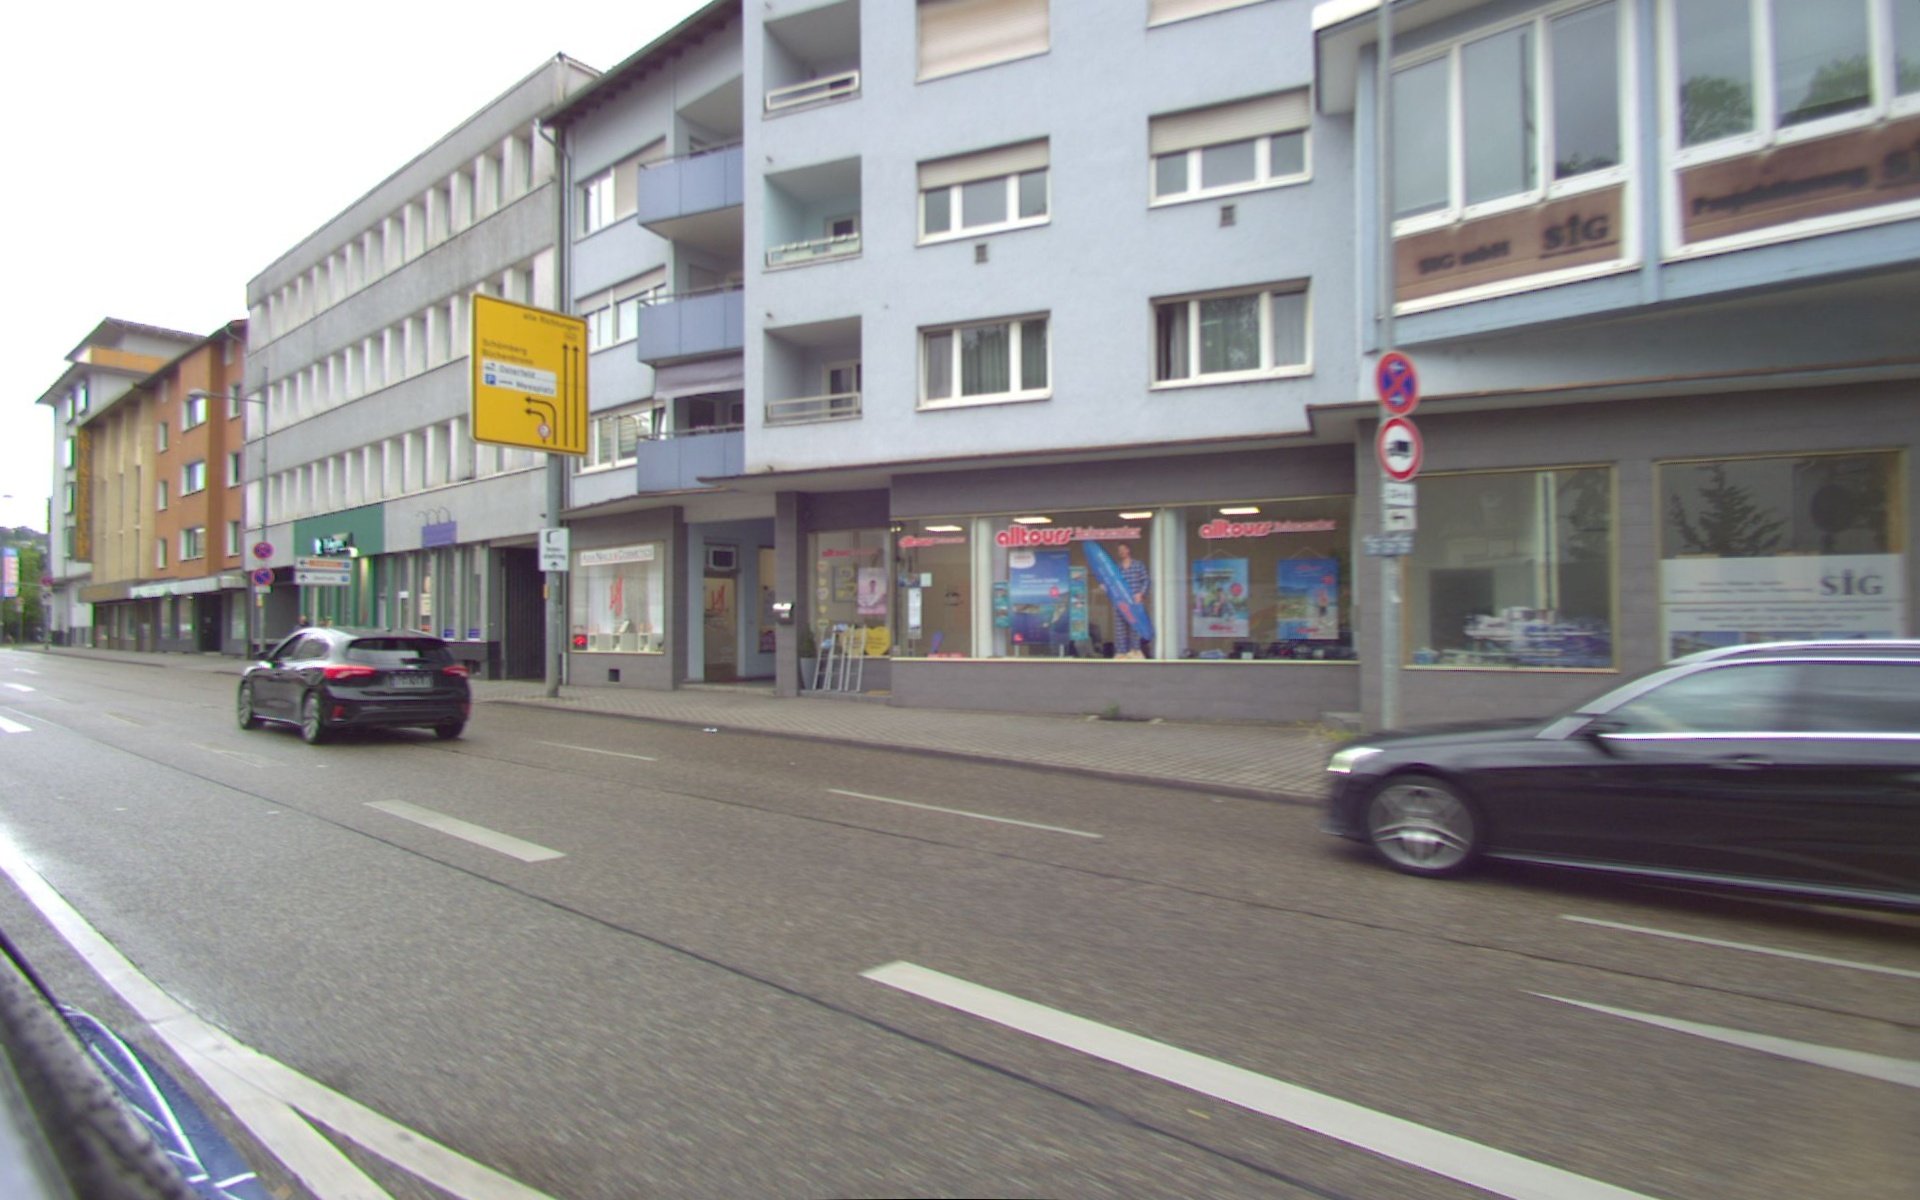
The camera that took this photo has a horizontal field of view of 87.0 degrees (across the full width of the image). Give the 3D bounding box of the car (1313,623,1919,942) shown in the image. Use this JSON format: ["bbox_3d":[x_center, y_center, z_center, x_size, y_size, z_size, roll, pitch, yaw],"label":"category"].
[{"bbox_3d":[4.681,0.912,5.689,4.826,1.479,1.690,-1,-5,41],"label":"car"}]

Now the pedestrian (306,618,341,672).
[{"bbox_3d":[-20.746,1.465,32.968,0.907,1.688,0.624,-1,2,39],"label":"pedestrian"}]

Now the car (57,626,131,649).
[{"bbox_3d":[-62.308,2.720,72.845,1.796,1.431,3.773,0,-4,40],"label":"car"}]

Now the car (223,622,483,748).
[{"bbox_3d":[-8.236,1.057,13.583,4.162,1.434,1.703,-1,-4,41],"label":"car"}]

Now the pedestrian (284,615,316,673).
[{"bbox_3d":[-21.183,1.387,32.479,0.826,1.801,0.569,-1,2,40],"label":"pedestrian"}]
